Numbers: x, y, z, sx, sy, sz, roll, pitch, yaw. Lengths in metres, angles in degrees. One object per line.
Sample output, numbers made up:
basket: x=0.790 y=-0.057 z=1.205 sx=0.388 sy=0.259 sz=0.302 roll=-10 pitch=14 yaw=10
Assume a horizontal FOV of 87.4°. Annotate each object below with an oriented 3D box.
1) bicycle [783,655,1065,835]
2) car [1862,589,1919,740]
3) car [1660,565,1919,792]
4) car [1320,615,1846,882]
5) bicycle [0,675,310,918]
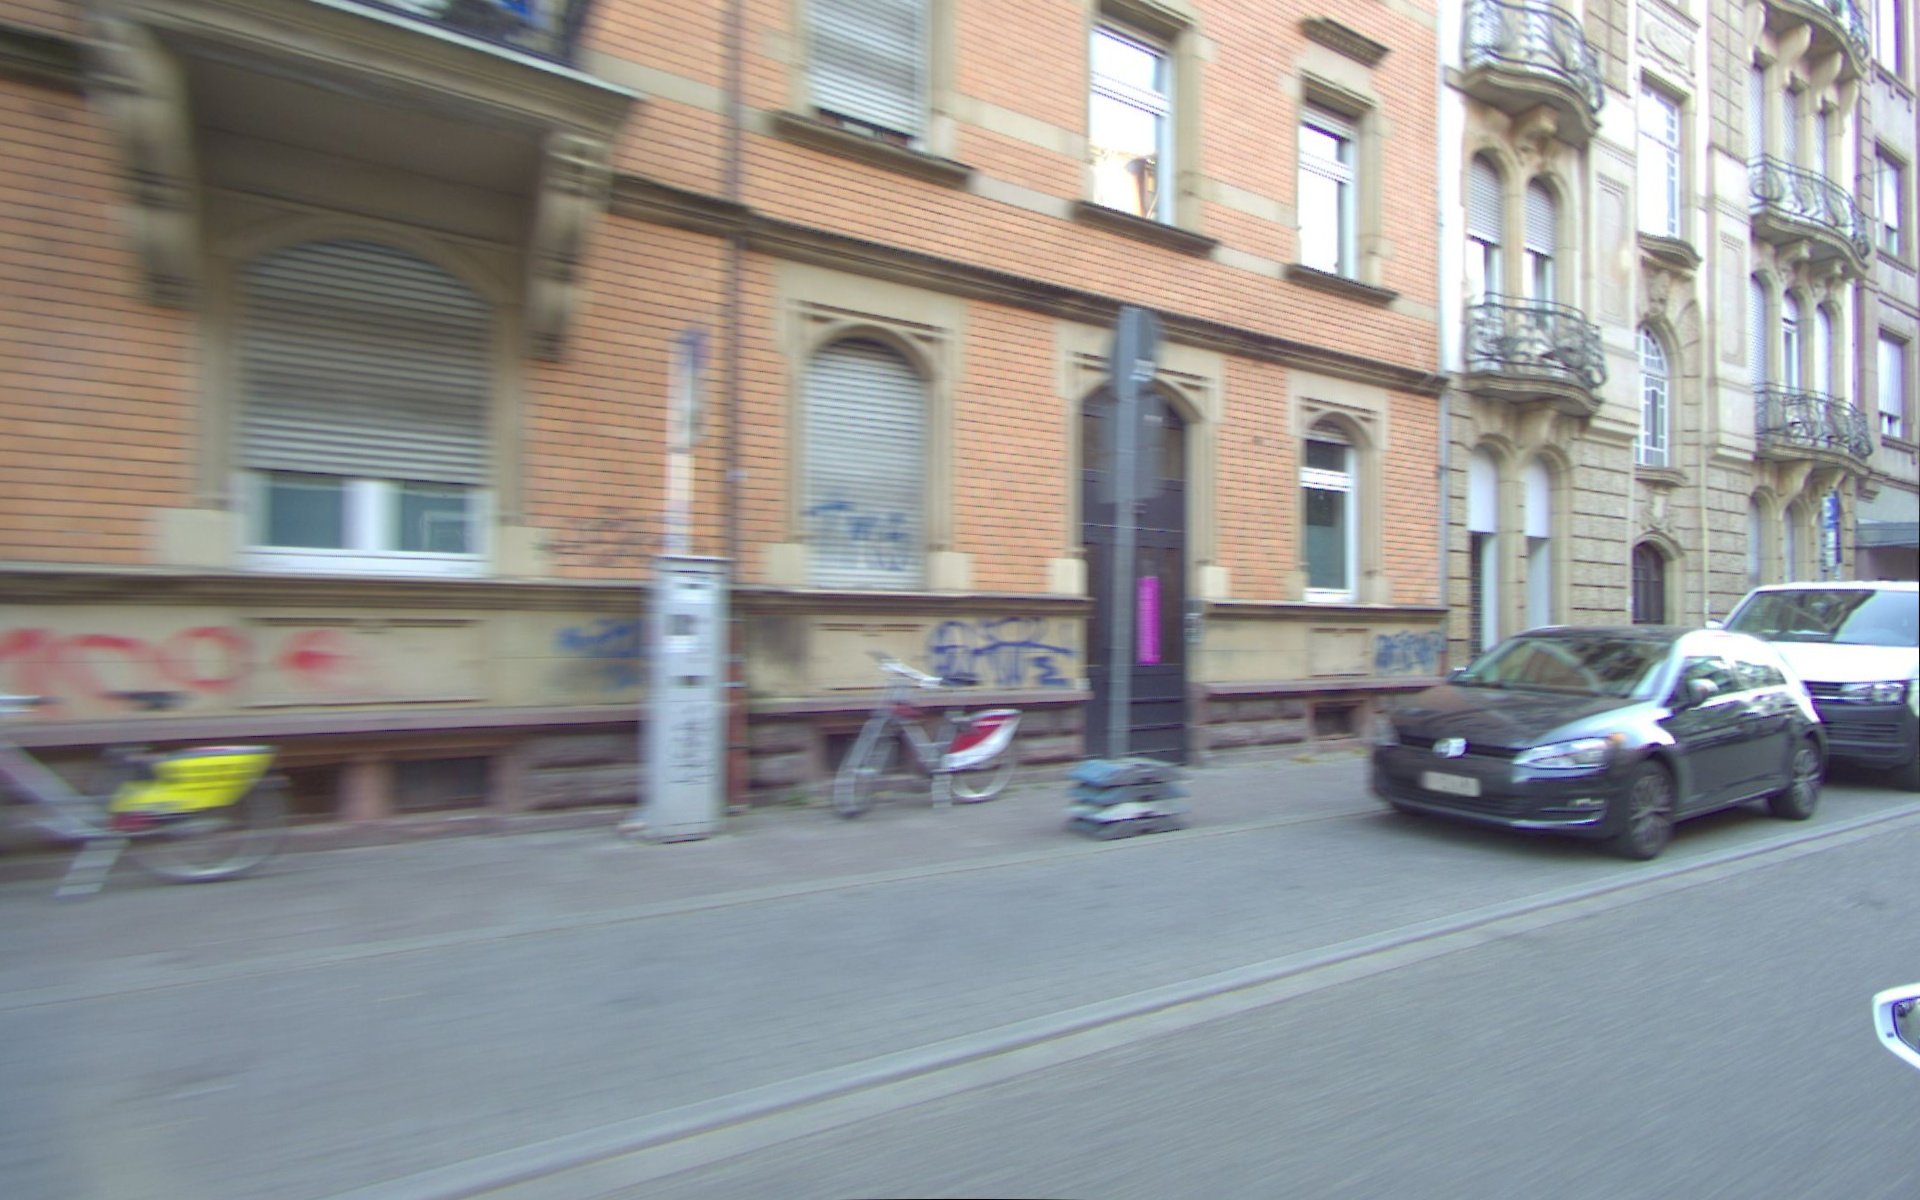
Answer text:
bicycle: x=-0.217 y=0.982 z=7.393 sx=2.008 sy=1.116 sz=0.744 roll=2 pitch=-1 yaw=-38
car: x=14.704 y=0.880 z=13.914 sx=4.972 sy=1.947 sz=2.097 roll=2 pitch=-1 yaw=-33
car: x=9.622 y=0.737 z=10.651 sx=4.790 sy=1.947 sz=1.828 roll=1 pitch=-1 yaw=-31
car: x=4.775 y=0.891 z=7.534 sx=4.129 sy=1.490 sz=1.826 roll=2 pitch=-1 yaw=-34
bicycle: x=-4.145 y=0.897 z=4.775 sx=1.720 sy=1.043 sz=0.445 roll=2 pitch=-1 yaw=-31
